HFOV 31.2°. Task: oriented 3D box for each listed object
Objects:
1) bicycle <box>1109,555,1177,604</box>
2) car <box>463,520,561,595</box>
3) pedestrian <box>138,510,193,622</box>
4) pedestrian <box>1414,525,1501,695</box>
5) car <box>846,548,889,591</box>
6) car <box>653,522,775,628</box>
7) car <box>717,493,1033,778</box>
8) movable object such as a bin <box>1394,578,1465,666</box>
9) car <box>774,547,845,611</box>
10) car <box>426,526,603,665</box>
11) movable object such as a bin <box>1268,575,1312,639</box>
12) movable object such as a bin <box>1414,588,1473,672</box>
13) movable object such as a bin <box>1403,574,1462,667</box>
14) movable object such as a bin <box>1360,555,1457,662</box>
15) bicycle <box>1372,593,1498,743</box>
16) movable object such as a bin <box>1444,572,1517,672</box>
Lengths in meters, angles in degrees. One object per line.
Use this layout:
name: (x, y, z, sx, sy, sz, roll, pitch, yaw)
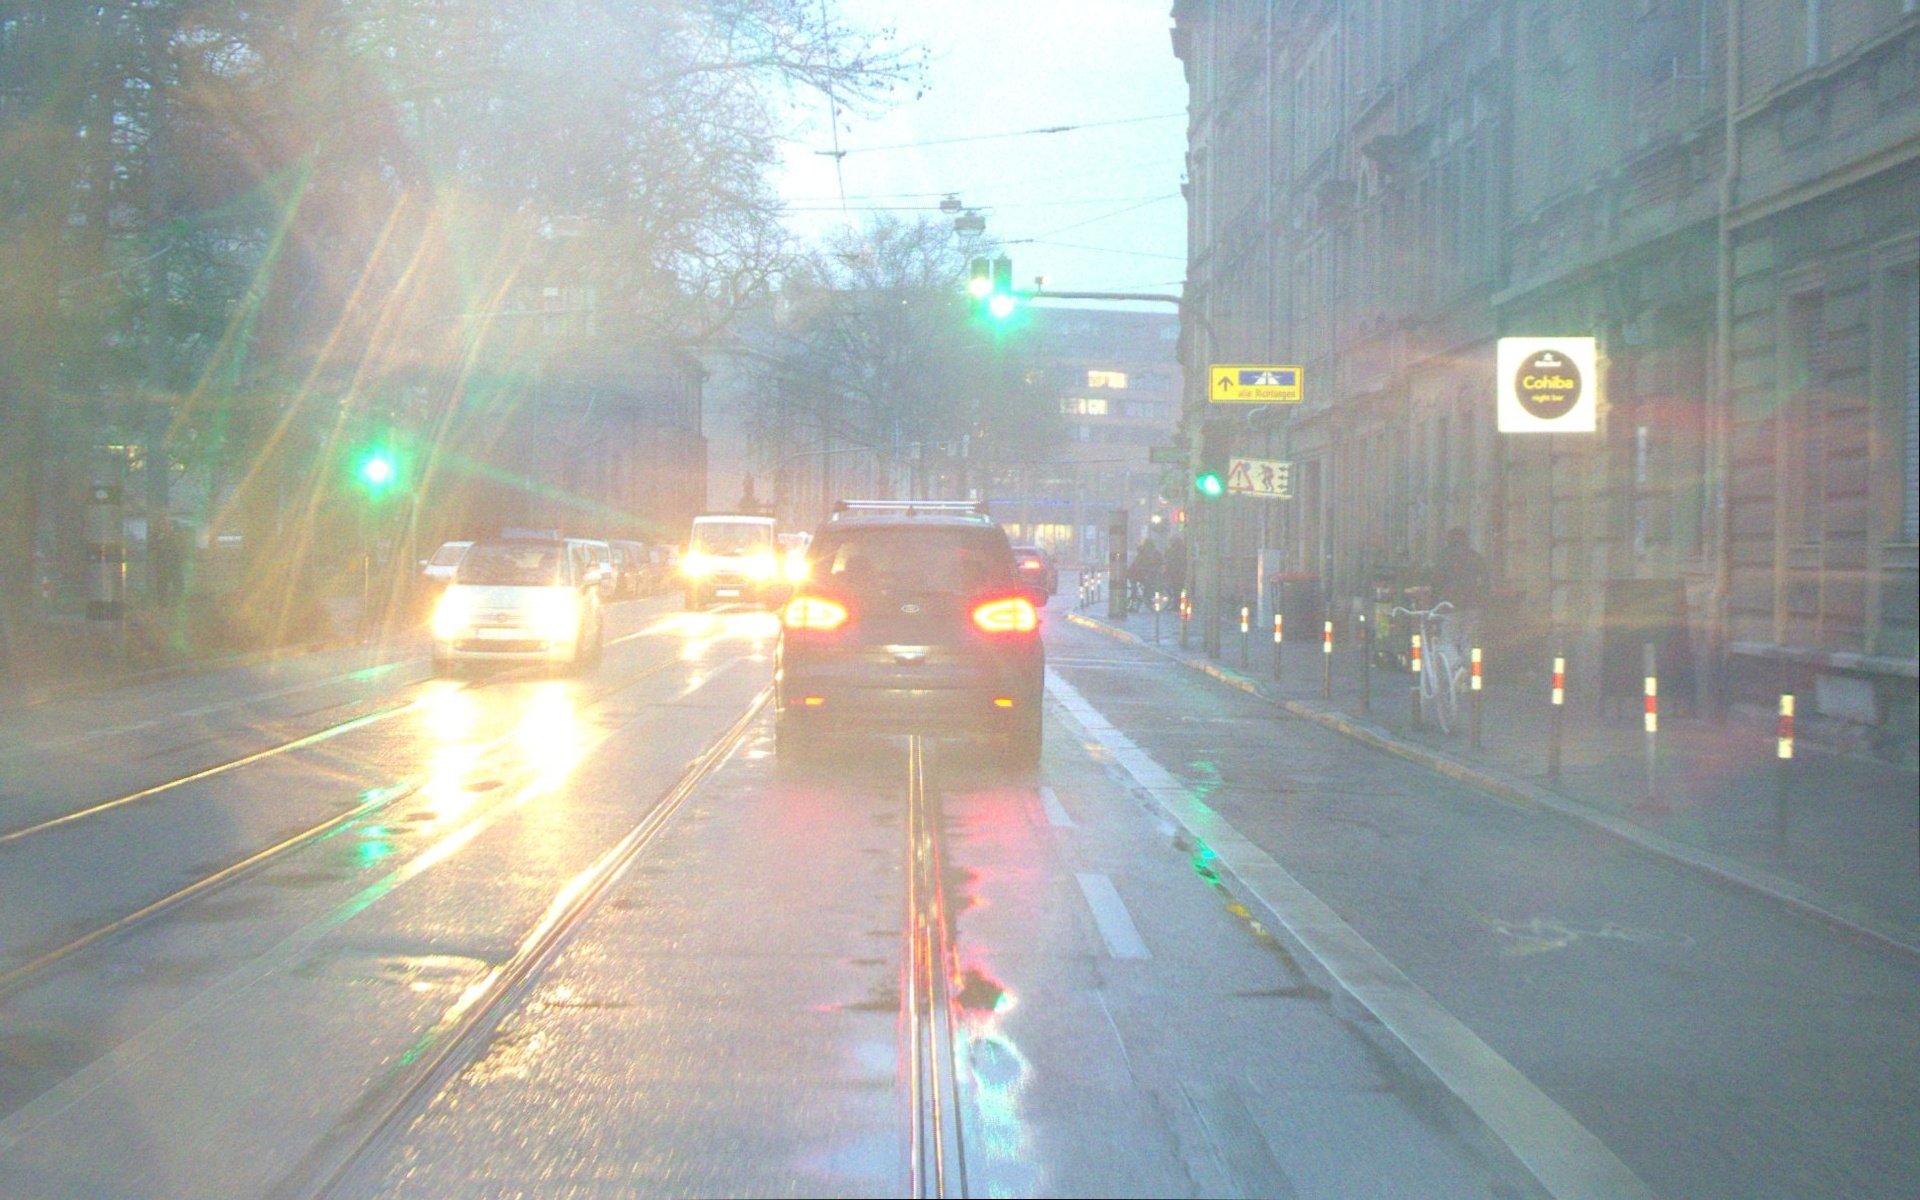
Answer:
bicycle: (4.345, -0.491, 81.664, 0.792, 1.140, 2.244, 1, 0, -20)
car: (-10.191, -0.961, 78.440, 1.983, 1.610, 4.430, 1, 0, -5)
pedestrian: (-12.986, -0.557, 56.222, 0.820, 1.809, 1.010, 1, 0, -11)
pedestrian: (5.092, 0.100, 35.221, 0.835, 1.695, 0.953, 1, 0, 8)
car: (-4.542, -1.504, 169.304, 1.993, 2.007, 4.000, 1, 0, -1)
car: (-5.639, -0.582, 79.519, 2.446, 2.339, 5.845, 0, 0, 0)
car: (-0.518, 0.207, 24.562, 1.993, 1.835, 4.000, 1, 1, 2)
movable object such as a bin: (5.642, 0.257, 41.300, 0.765, 1.035, 0.599, 1, 1, 15)
car: (-4.909, -0.688, 112.636, 1.993, 2.007, 4.000, 1, 0, 1)
car: (-4.939, -0.079, 38.481, 1.530, 1.476, 3.561, 1, 1, 0)
movable object such as a bin: (5.476, 0.111, 57.055, 0.640, 1.051, 0.744, 1, 0, -1)
movable object such as a bin: (5.389, 0.330, 38.298, 0.488, 0.925, 0.425, 0, 1, -27)
movable object such as a bin: (5.586, 0.239, 40.635, 0.611, 1.078, 0.599, 1, 1, 15)
movable object such as a bin: (5.519, 0.094, 42.389, 0.887, 1.284, 1.262, 0, 1, -7)
bicycle: (3.884, 0.533, 28.266, 0.684, 1.152, 2.188, 1, 0, -1)
movable object such as a bin: (5.728, 0.238, 37.835, 0.611, 1.077, 0.491, 0, 1, -29)
